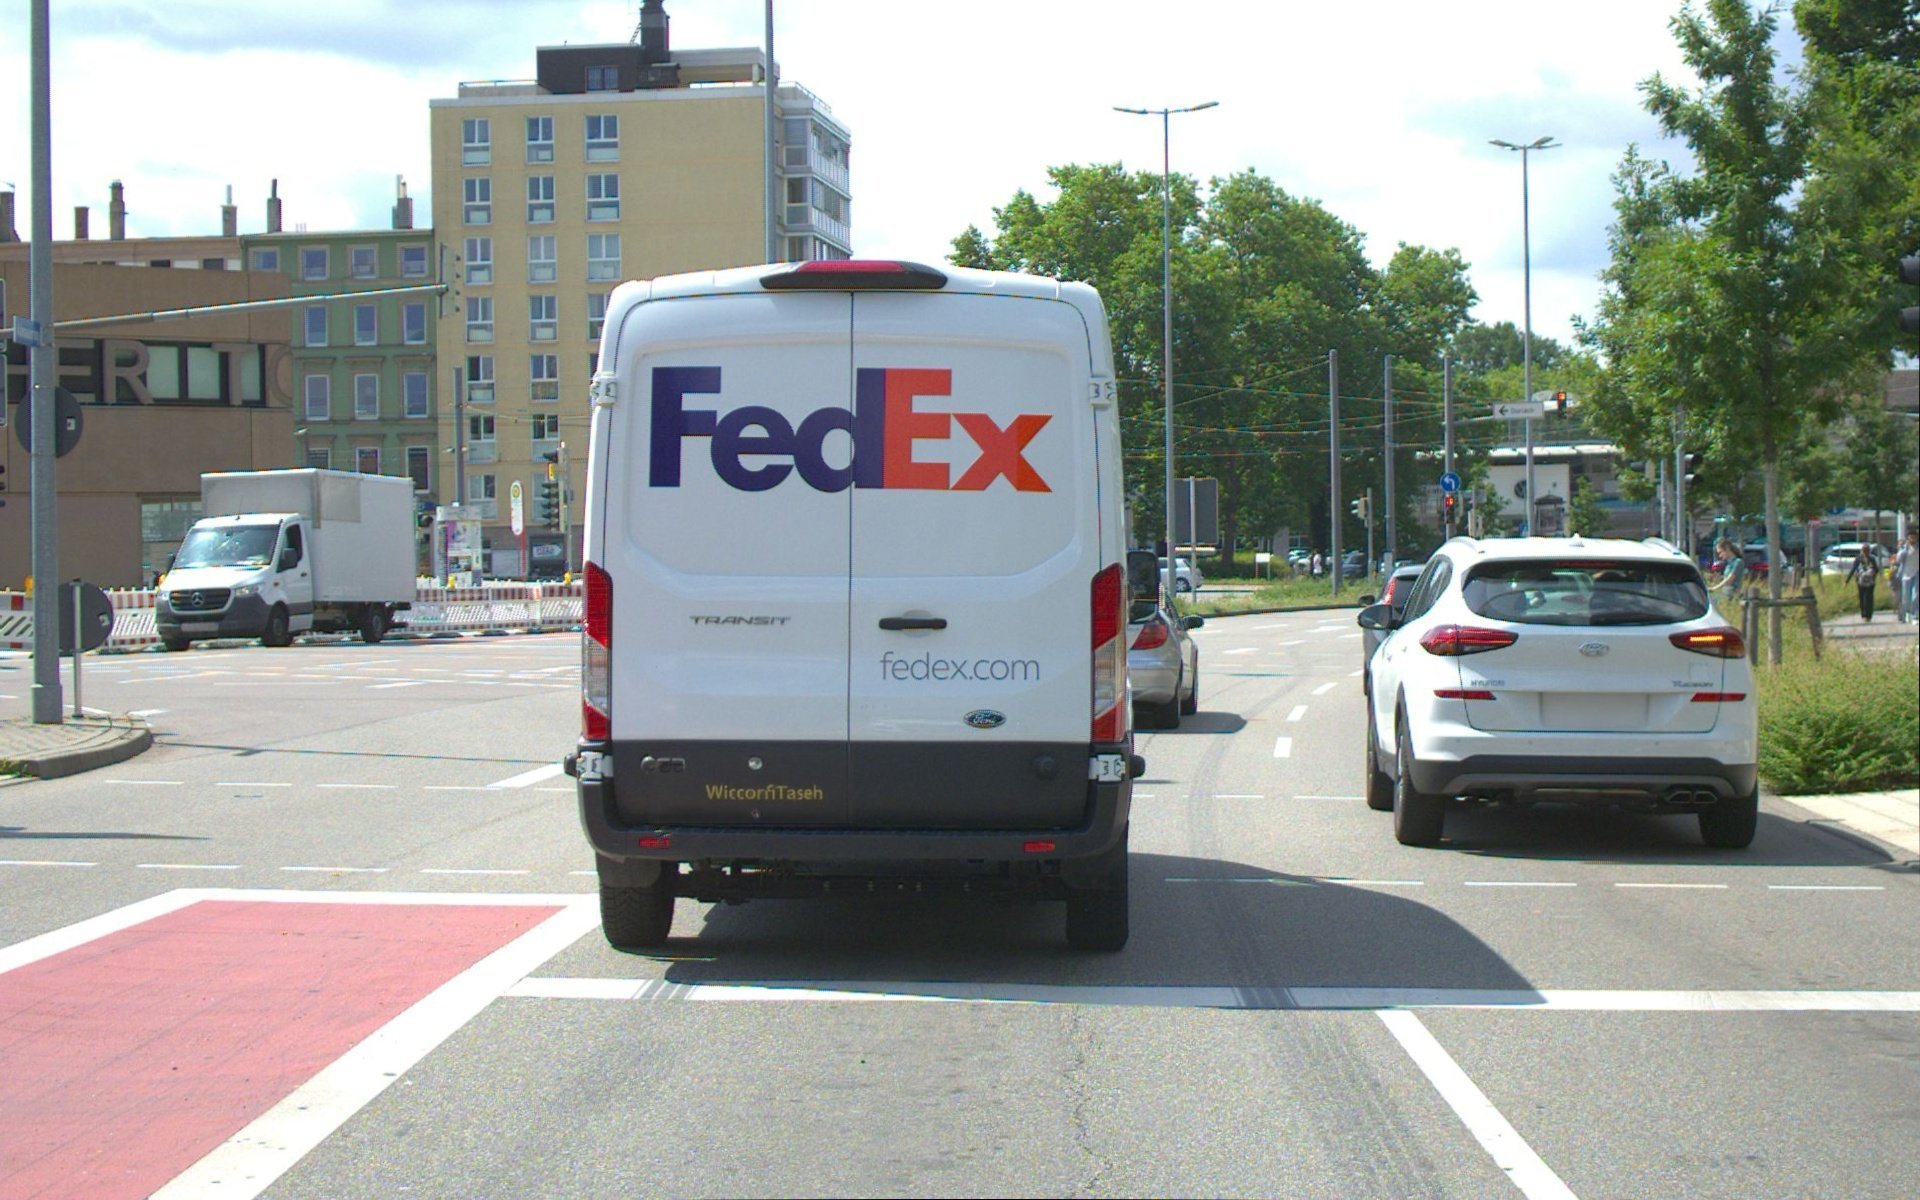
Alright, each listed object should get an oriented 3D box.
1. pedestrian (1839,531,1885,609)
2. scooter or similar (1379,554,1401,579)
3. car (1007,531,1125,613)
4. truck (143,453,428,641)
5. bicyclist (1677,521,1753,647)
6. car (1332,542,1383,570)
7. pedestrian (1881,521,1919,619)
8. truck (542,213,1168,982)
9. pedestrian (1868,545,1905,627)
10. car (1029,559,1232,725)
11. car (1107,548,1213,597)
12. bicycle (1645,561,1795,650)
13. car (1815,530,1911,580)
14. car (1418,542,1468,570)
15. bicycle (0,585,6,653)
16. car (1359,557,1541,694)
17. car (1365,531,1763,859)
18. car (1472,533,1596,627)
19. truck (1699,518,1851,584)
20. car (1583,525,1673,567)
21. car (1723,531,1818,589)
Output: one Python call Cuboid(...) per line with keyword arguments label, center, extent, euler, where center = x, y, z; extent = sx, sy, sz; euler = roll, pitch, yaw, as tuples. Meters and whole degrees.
Cuboid(label="pedestrian", center=(18.579, -0.614, 70.834), extent=(0.756, 1.584, 0.761), euler=(1, 0, 1))
Cuboid(label="scooter or similar", center=(18.870, -1.465, 150.859), extent=(0.379, 1.112, 1.092), euler=(1, 0, 42))
Cuboid(label="car", center=(2.703, -0.683, 86.603), extent=(1.995, 2.007, 4.119), euler=(1, 0, 16))
Cuboid(label="truck", center=(-11.589, -0.875, 59.744), extent=(1.995, 3.057, 7.326), euler=(1, 0, 13))
Cuboid(label="bicyclist", center=(9.886, -0.207, 45.029), extent=(0.828, 1.596, 0.579), euler=(-3, -1, 6))
Cuboid(label="car", center=(23.374, -2.589, 202.015), extent=(1.995, 1.568, 4.174), euler=(1, 0, 20))
Cuboid(label="pedestrian", center=(18.060, -0.577, 65.414), extent=(0.756, 1.815, 0.780), euler=(-4, 0, 1))
Cuboid(label="truck", center=(-0.347, -0.040, 14.788), extent=(2.137, 2.631, 5.917), euler=(0, 1, 0))
Cuboid(label="pedestrian", center=(18.334, -0.278, 68.033), extent=(0.587, 1.620, 0.727), euler=(1, 0, 7))
Cuboid(label="car", center=(1.546, 0.341, 31.956), extent=(1.741, 1.387, 4.179), euler=(-1, 1, 2))
Cuboid(label="car", center=(8.120, -1.104, 139.383), extent=(4.076, 1.918, 1.809), euler=(1, 0, 12))
Cuboid(label="bicycle", center=(9.945, 0.074, 45.024), extent=(1.810, 1.046, 0.591), euler=(-3, -1, 6))
Cuboid(label="car", center=(30.184, -1.513, 114.883), extent=(1.885, 1.636, 3.949), euler=(0, 1, 34))
Cuboid(label="car", center=(28.093, -2.537, 199.868), extent=(1.995, 1.568, 4.174), euler=(1, 0, 20))
Cuboid(label="bicycle", center=(-12.973, 0.267, 44.386), extent=(0.567, 0.886, 1.742), euler=(-1, 1, 9))
Cuboid(label="car", center=(5.491, 0.254, 38.761), extent=(1.915, 1.415, 3.917), euler=(-1, 1, 7))
Cuboid(label="car", center=(3.281, 0.440, 19.397), extent=(1.881, 1.636, 4.232), euler=(-1, 1, 6))
Cuboid(label="car", center=(10.603, -0.391, 63.271), extent=(1.882, 1.636, 3.954), euler=(0, 1, 15))
Cuboid(label="truck", center=(36.889, -2.233, 155.396), extent=(2.892, 2.842, 8.771), euler=(0, 1, 42))
Cuboid(label="car", center=(30.204, -2.436, 155.424), extent=(1.722, 1.794, 4.728), euler=(-1, 1, 43))
Cuboid(label="car", center=(23.826, -1.192, 100.975), extent=(1.884, 1.636, 3.952), euler=(0, 1, 26))
